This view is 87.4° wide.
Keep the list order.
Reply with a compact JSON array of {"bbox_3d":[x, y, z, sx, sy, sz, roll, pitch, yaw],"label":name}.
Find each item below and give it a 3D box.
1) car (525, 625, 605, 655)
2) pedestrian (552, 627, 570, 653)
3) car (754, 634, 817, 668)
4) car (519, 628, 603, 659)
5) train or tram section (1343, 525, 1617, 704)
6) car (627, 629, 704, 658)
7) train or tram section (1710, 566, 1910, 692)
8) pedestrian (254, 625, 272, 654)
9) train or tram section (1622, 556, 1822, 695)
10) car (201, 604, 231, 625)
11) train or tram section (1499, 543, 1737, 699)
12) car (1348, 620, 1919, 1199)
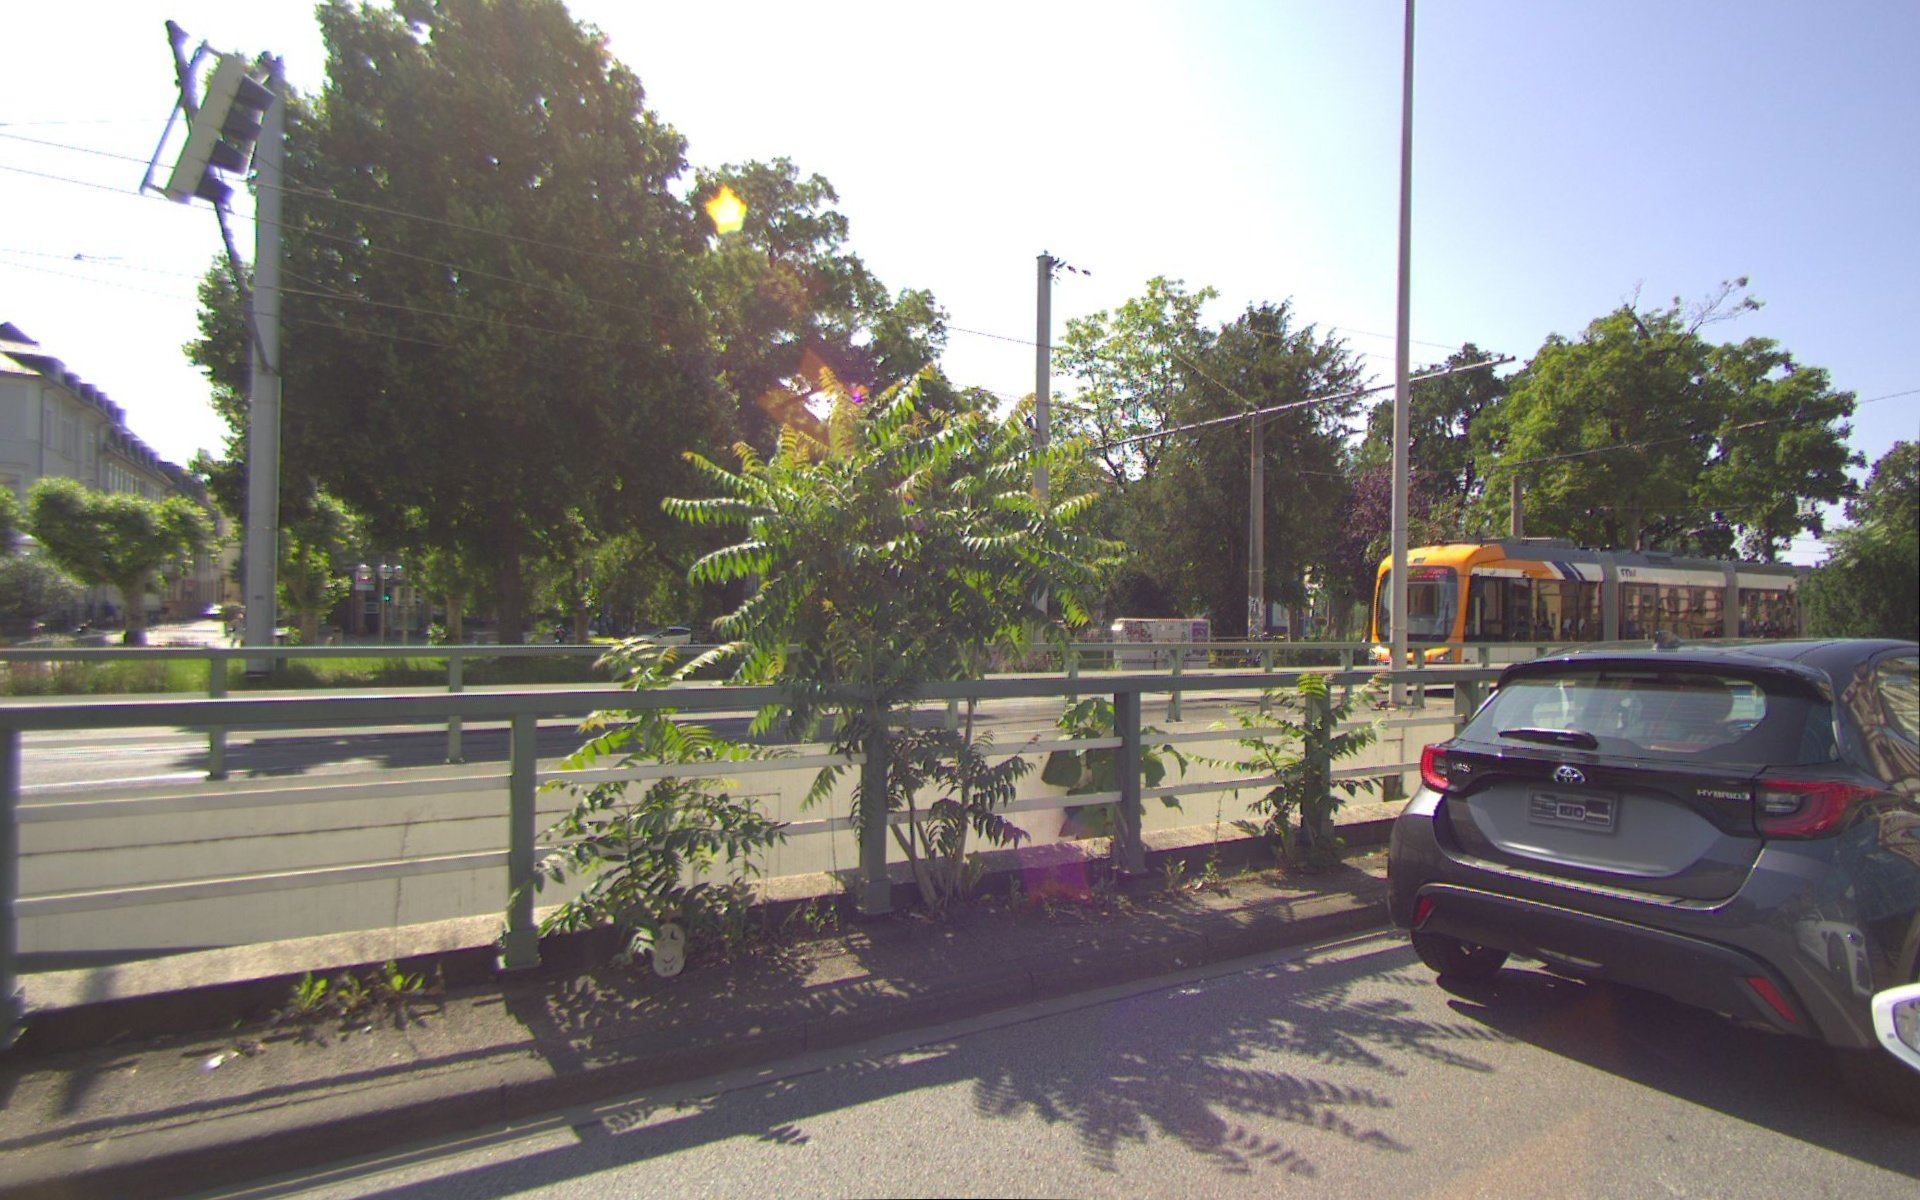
[{"bbox_3d":[-22.699,2.292,57.814,3.961,1.528,1.743,2,2,-36],"label":"car"},{"bbox_3d":[-20.449,2.043,51.478,0.655,1.280,0.743,1,-2,-42],"label":"pedestrian"},{"bbox_3d":[-11.552,3.365,66.552,3.601,2.041,1.983,2,2,-30],"label":"car"},{"bbox_3d":[-21.998,2.397,55.433,3.961,1.528,1.743,2,2,-36],"label":"car"},{"bbox_3d":[11.938,0.333,22.961,6.032,3.629,2.600,2,2,-30],"label":"train or tram section"},{"bbox_3d":[-17.206,2.553,58.774,3.961,1.528,1.743,2,2,-36],"label":"car"},{"bbox_3d":[27.145,0.912,32.006,6.818,3.629,2.600,2,2,-30],"label":"train or tram section"},{"bbox_3d":[-30.475,1.724,43.919,0.569,1.280,0.526,-1,-2,39],"label":"pedestrian"},{"bbox_3d":[21.967,0.715,28.932,5.295,3.629,2.600,2,2,-30],"label":"train or tram section"},{"bbox_3d":[-74.463,1.422,100.587,1.977,1.818,3.966,2,2,-31],"label":"car"},{"bbox_3d":[17.123,0.530,26.061,6.032,3.629,2.600,2,2,-30],"label":"train or tram section"},{"bbox_3d":[3.738,0.915,4.437,3.957,1.495,1.767,2,0,-33],"label":"car"}]
